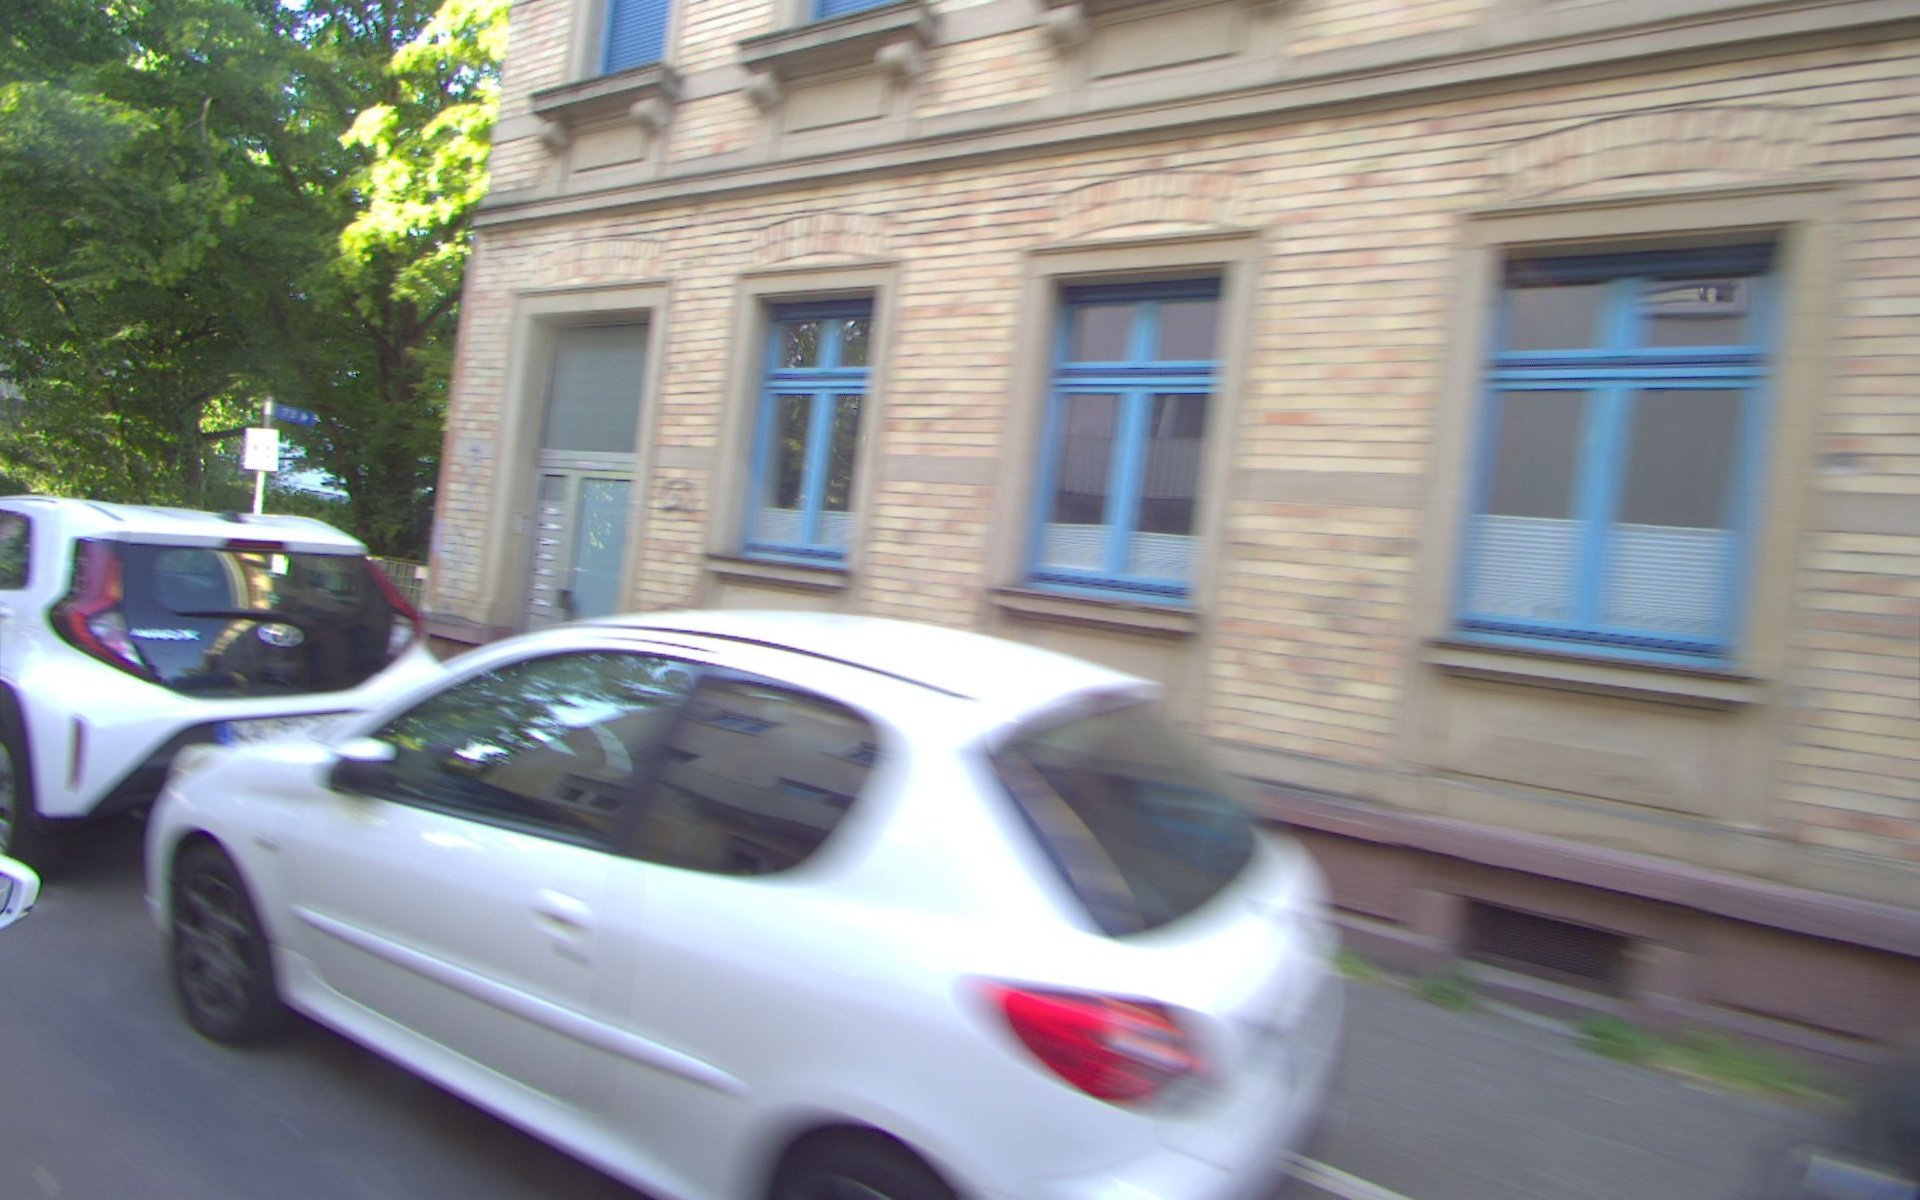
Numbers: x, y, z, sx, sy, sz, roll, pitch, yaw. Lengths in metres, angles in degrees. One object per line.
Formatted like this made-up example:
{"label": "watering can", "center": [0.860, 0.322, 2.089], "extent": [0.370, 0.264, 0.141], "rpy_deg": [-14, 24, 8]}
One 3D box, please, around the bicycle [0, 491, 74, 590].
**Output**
{"label": "bicycle", "center": [-13.323, -0.886, 14.058], "extent": [1.949, 1.216, 0.847], "rpy_deg": [8, 1, 33]}

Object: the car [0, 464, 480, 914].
{"label": "car", "center": [-4.439, 0.203, 5.267], "extent": [3.701, 1.605, 1.595], "rpy_deg": [7, 0, 31]}

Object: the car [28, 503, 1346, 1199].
{"label": "car", "center": [-1.041, 0.628, 3.184], "extent": [3.934, 1.470, 1.595], "rpy_deg": [7, 2, 28]}

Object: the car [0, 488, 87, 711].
{"label": "car", "center": [-8.533, -0.252, 7.590], "extent": [4.281, 1.512, 1.661], "rpy_deg": [7, 0, 32]}

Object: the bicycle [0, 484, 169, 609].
{"label": "bicycle", "center": [-11.169, -0.687, 12.609], "extent": [2.289, 1.319, 1.290], "rpy_deg": [7, 2, 34]}

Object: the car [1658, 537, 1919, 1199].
{"label": "car", "center": [3.085, 1.003, 0.530], "extent": [4.257, 1.689, 1.766], "rpy_deg": [7, 3, 32]}
